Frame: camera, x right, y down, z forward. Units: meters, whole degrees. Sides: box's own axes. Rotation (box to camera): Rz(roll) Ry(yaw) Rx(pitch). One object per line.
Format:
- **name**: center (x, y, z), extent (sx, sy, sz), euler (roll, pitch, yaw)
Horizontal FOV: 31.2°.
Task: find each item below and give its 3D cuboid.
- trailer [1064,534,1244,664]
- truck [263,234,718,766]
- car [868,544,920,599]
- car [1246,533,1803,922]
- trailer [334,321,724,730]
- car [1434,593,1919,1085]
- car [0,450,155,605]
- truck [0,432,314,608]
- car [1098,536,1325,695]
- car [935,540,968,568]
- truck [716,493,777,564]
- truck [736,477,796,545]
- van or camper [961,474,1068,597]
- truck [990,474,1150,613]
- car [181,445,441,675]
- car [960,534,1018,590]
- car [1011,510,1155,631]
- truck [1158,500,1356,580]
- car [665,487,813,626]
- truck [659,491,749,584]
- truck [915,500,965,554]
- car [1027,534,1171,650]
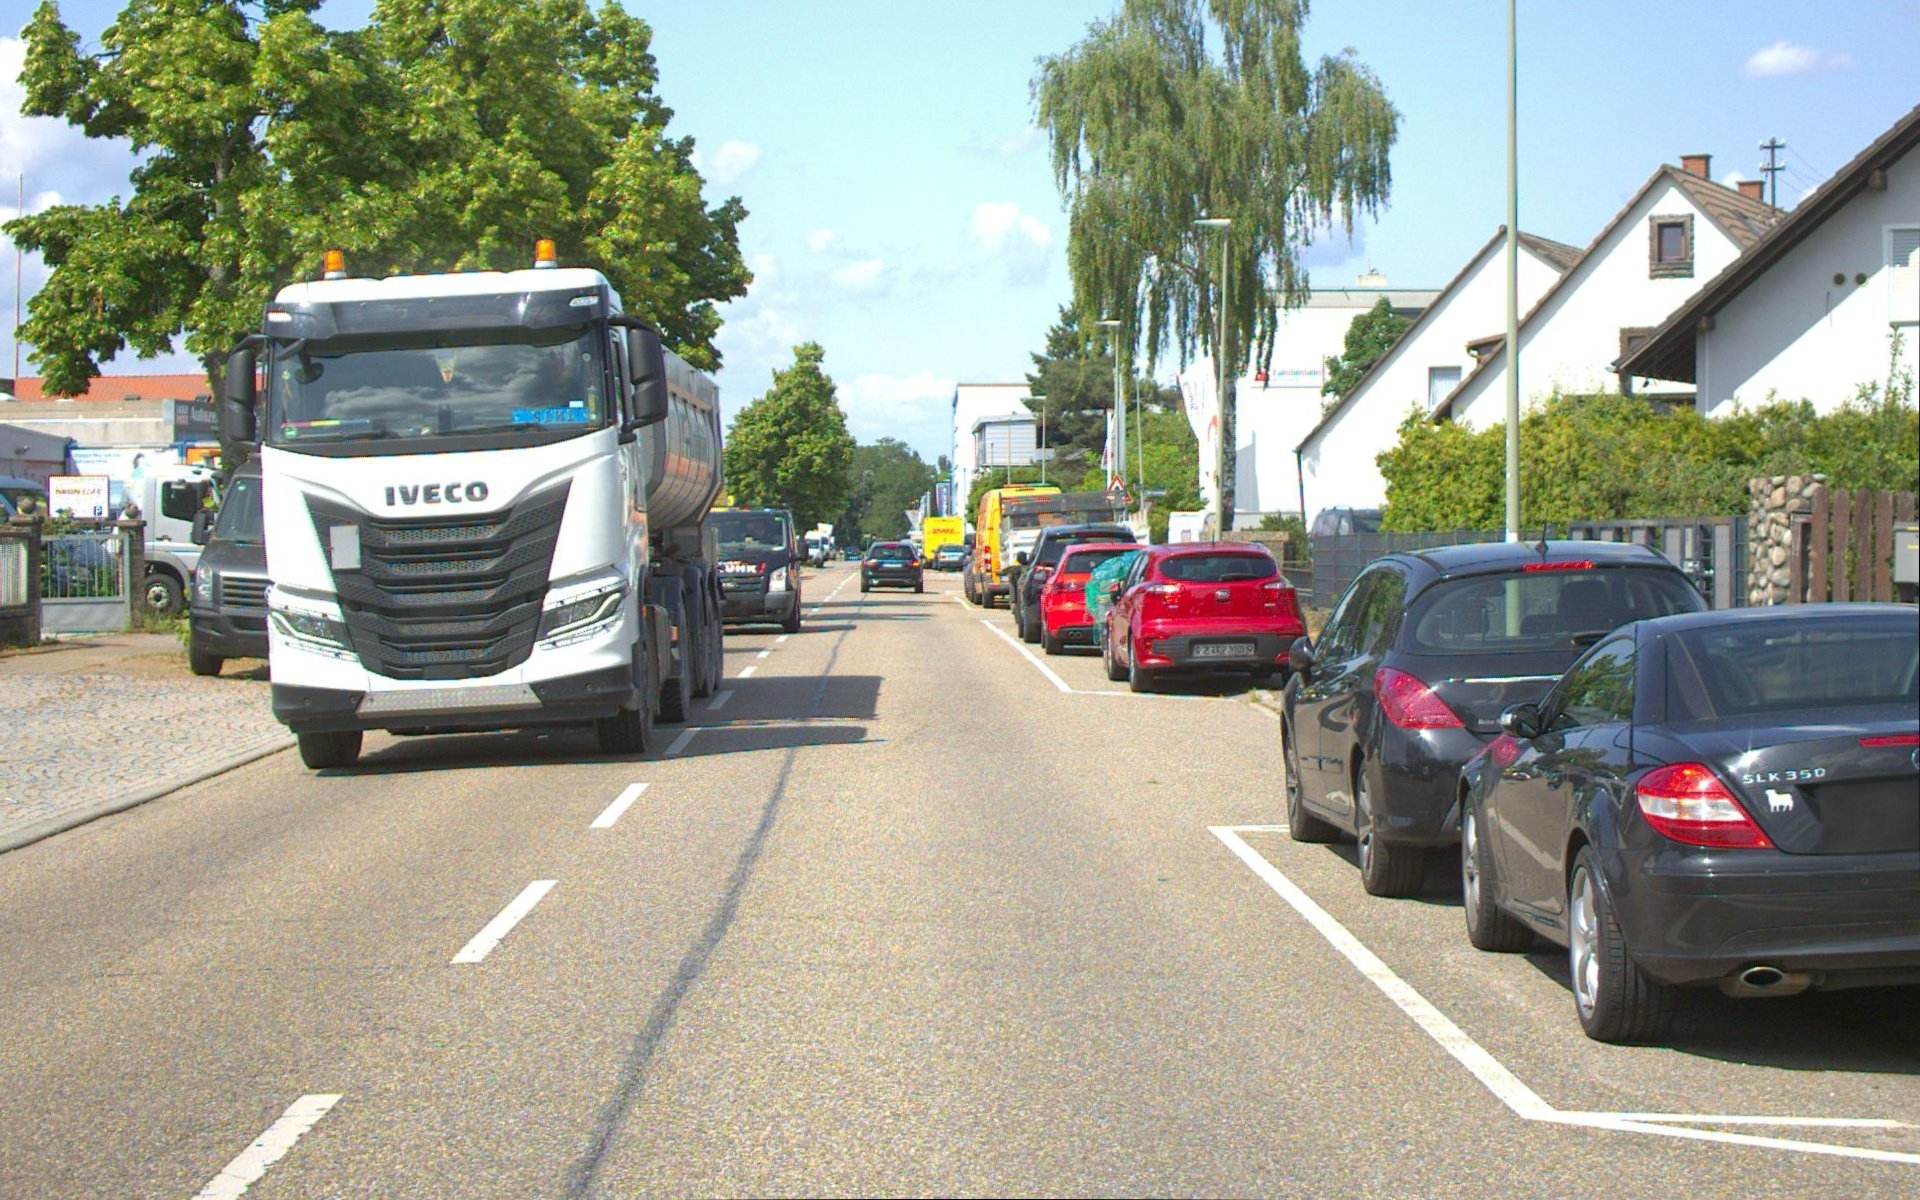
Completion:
- **trailer**: center (2.149, -0.052, 39.117), extent (1.608, 1.373, 4.433), euler (0, 1, -2)
- **truck**: center (-3.296, -0.725, 25.621), extent (2.772, 3.487, 5.882), euler (0, 1, -2)
- **car**: center (-1.871, -0.826, 98.122), extent (1.427, 1.513, 3.017), euler (0, 1, 0)
- **car**: center (2.500, 0.488, 16.223), extent (1.743, 1.545, 4.122), euler (2, 1, -2)
- **trailer**: center (-3.545, -0.660, 30.340), extent (2.834, 3.058, 8.891), euler (0, 1, -3)
- **car**: center (2.746, 0.681, 11.808), extent (1.710, 1.313, 3.963), euler (0, 1, 0)
- **car**: center (-14.622, -1.046, 50.633), extent (5.003, 2.224, 1.999), euler (0, 0, 12)
- **truck**: center (-15.857, -1.329, 58.192), extent (9.259, 2.846, 2.720), euler (-1, 1, 4)
- **car**: center (2.435, 0.103, 34.362), extent (1.691, 1.457, 4.757), euler (0, 1, -3)
- **car**: center (-0.477, -2.430, 181.720), extent (1.651, 1.382, 4.423), euler (1, 2, -1)
- **truck**: center (-8.831, -2.920, 142.464), extent (2.269, 2.845, 7.175), euler (1, 0, -2)
- **truck**: center (-8.614, -3.932, 152.878), extent (2.316, 2.853, 7.105), euler (2, 1, -1)
- **van or camper**: center (1.182, -1.463, 77.256), extent (1.993, 2.655, 5.770), euler (0, 1, -3)
- **truck**: center (1.850, -0.995, 60.110), extent (2.522, 2.291, 5.896), euler (-1, 1, -1)
- **car**: center (-6.850, -0.484, 36.708), extent (2.168, 2.252, 4.001), euler (2, 2, -3)
- **car**: center (0.851, -1.140, 100.880), extent (1.610, 1.575, 4.000), euler (1, 1, 0)
- **car**: center (1.713, -0.449, 49.265), extent (1.830, 1.656, 4.554), euler (0, 1, -1)
- **truck**: center (9.806, -2.009, 113.426), extent (6.039, 2.568, 2.567), euler (-1, 2, -27)
- **car**: center (-3.426, -0.704, 54.140), extent (2.051, 2.027, 5.142), euler (-2, 1, -1)
- **truck**: center (-8.152, -2.008, 110.044), extent (2.220, 2.847, 7.069), euler (1, 1, 0)
- **truck**: center (-1.155, -4.081, 193.331), extent (2.474, 2.930, 7.189), euler (1, 1, -2)
- **car**: center (1.765, -0.135, 44.744), extent (1.684, 1.430, 4.146), euler (0, 1, 0)
